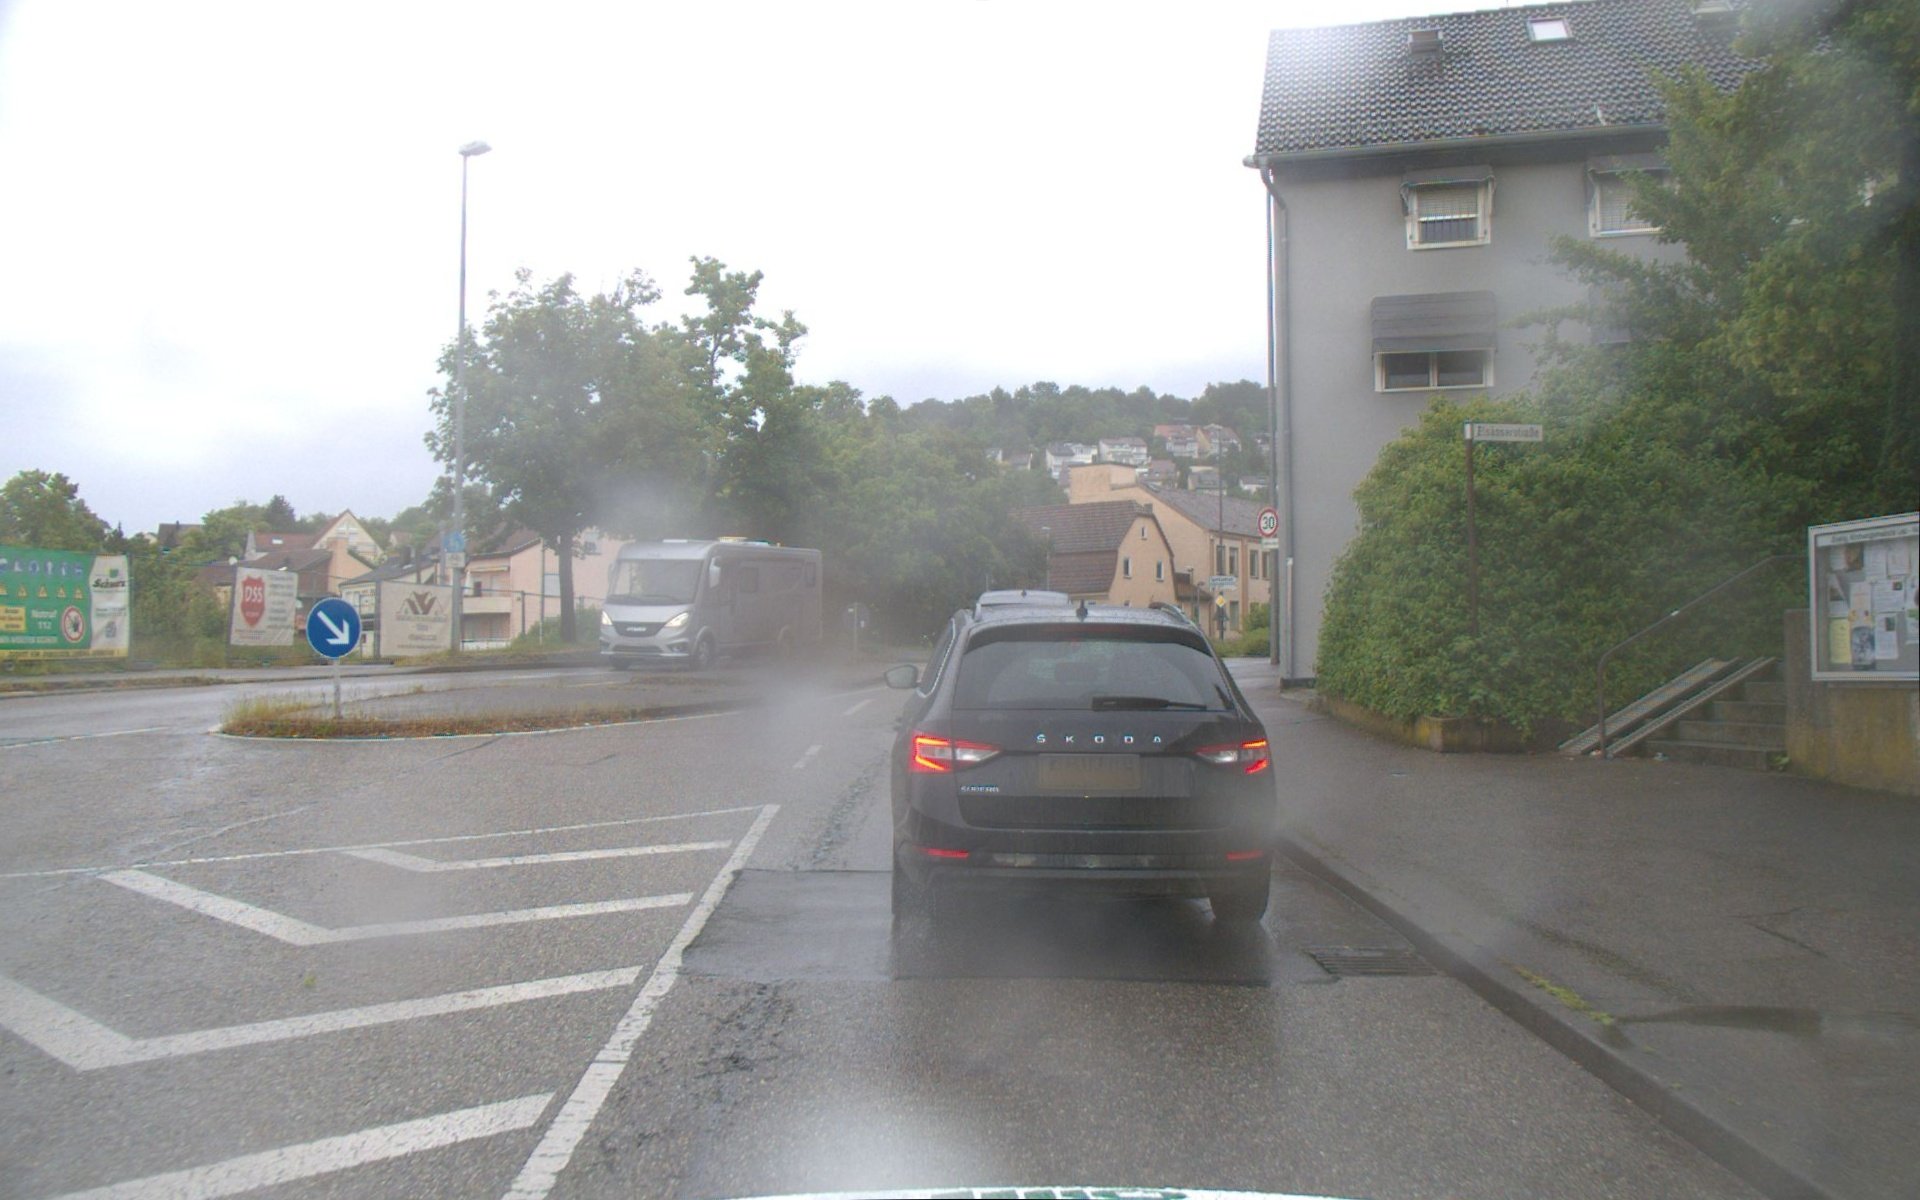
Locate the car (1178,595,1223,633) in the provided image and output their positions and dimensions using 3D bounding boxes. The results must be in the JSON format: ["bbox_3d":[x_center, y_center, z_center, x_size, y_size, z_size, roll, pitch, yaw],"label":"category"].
[{"bbox_3d":[13.622,0.822,93.871,1.953,2.049,3.999,1,-1,0],"label":"car"}]

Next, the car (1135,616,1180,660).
[{"bbox_3d":[7.454,1.386,62.314,1.534,1.557,4.003,0,0,9],"label":"car"}]

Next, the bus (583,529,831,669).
[{"bbox_3d":[-5.248,-0.037,35.804,2.346,2.723,7.050,0,0,18],"label":"bus"}]

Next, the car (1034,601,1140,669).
[{"bbox_3d":[2.918,0.780,37.214,1.808,1.434,4.305,0,-1,12],"label":"car"}]

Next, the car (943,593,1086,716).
[{"bbox_3d":[0.770,0.711,22.815,1.790,1.526,4.169,0,-1,2],"label":"car"}]

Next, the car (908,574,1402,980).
[{"bbox_3d":[0.739,0.736,8.861,1.914,1.534,4.607,2,-1,-1],"label":"car"}]

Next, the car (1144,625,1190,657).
[{"bbox_3d":[10.516,2.071,83.888,1.951,1.478,3.774,-3,-1,12],"label":"car"}]
